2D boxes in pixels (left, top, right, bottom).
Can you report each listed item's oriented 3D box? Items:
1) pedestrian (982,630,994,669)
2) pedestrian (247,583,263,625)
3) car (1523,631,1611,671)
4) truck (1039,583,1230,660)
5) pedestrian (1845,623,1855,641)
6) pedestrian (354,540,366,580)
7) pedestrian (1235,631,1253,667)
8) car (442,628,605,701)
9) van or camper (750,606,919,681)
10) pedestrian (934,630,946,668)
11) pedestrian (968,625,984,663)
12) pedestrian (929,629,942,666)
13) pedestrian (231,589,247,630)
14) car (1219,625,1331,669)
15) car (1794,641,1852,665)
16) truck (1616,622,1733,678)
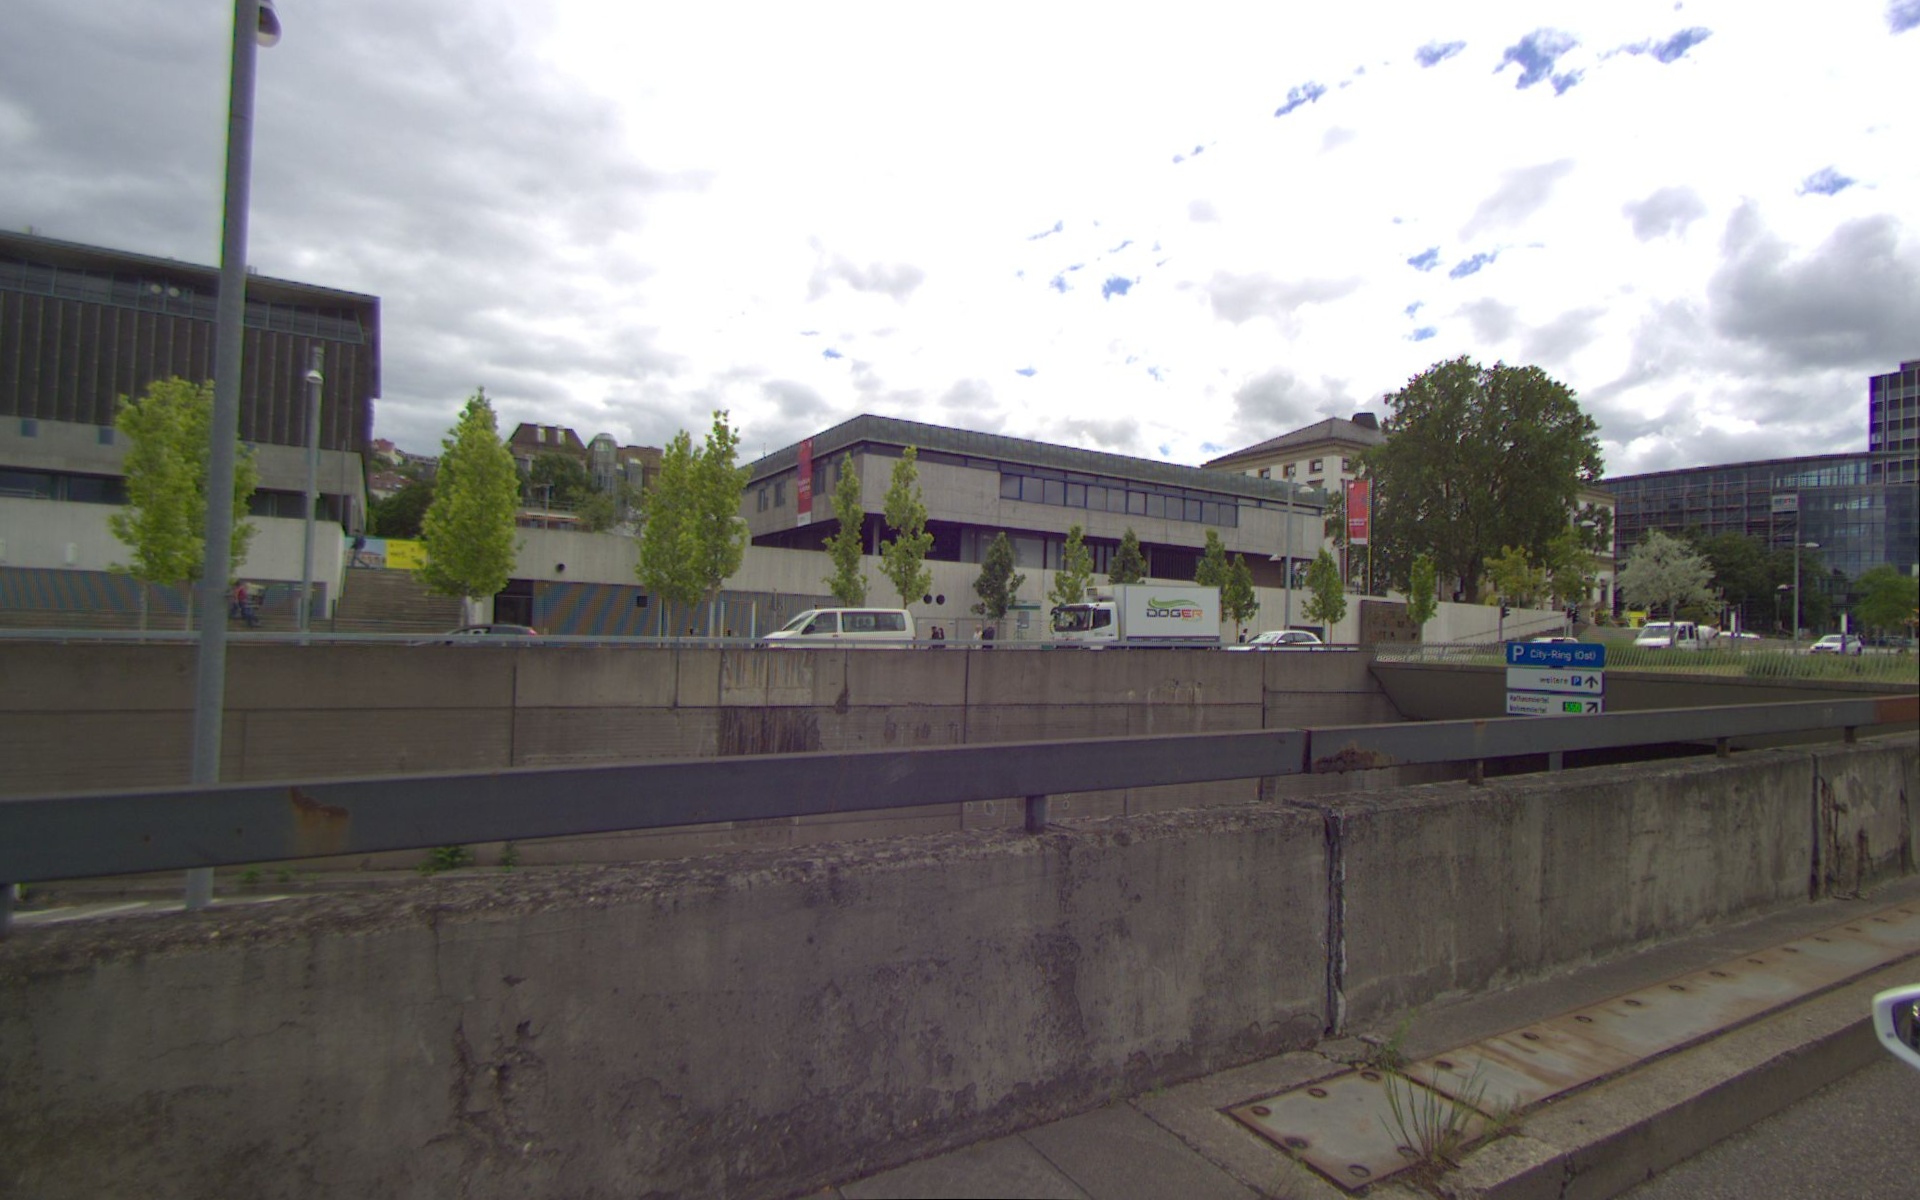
[{"bbox_3d":[1.108,1.979,39.952,0.314,1.542,0.315,2,0,-36],"label":"pedestrian"},{"bbox_3d":[-26.480,0.146,37.734,0.457,1.542,0.377,2,0,-36],"label":"pedestrian"},{"bbox_3d":[30.359,2.505,50.217,4.208,1.840,1.984,1,0,-30],"label":"car"},{"bbox_3d":[6.989,0.833,40.030,7.169,2.825,3.215,1,-1,-31],"label":"truck"},{"bbox_3d":[82.137,2.958,92.666,0.643,1.671,0.521,2,0,-31],"label":"pedestrian"},{"bbox_3d":[-29.106,-1.937,48.728,0.457,1.891,0.377,2,0,-36],"label":"pedestrian"},{"bbox_3d":[13.955,2.405,49.311,0.656,1.757,0.537,1,0,-30],"label":"pedestrian"},{"bbox_3d":[-12.075,1.716,27.824,3.953,1.840,1.984,1,0,-30],"label":"car"},{"bbox_3d":[-3.657,1.229,29.344,4.503,2.040,1.984,1,0,-30],"label":"van or camper"},{"bbox_3d":[-0.837,2.016,41.233,0.314,1.542,0.346,2,0,-36],"label":"pedestrian"},{"bbox_3d":[0.635,1.801,41.003,0.457,1.542,0.424,2,0,-36],"label":"pedestrian"},{"bbox_3d":[-1.025,1.961,41.572,0.314,1.542,0.410,2,0,-36],"label":"pedestrian"},{"bbox_3d":[-27.235,0.346,37.938,0.457,1.542,0.377,2,0,-36],"label":"pedestrian"},{"bbox_3d":[12.191,1.778,38.788,4.218,1.595,1.711,1,0,-29],"label":"car"},{"bbox_3d":[62.191,3.784,72.379,4.556,1.595,1.711,1,0,-29],"label":"car"},{"bbox_3d":[38.996,2.656,54.800,6.991,2.854,2.453,1,0,-29],"label":"truck"}]
